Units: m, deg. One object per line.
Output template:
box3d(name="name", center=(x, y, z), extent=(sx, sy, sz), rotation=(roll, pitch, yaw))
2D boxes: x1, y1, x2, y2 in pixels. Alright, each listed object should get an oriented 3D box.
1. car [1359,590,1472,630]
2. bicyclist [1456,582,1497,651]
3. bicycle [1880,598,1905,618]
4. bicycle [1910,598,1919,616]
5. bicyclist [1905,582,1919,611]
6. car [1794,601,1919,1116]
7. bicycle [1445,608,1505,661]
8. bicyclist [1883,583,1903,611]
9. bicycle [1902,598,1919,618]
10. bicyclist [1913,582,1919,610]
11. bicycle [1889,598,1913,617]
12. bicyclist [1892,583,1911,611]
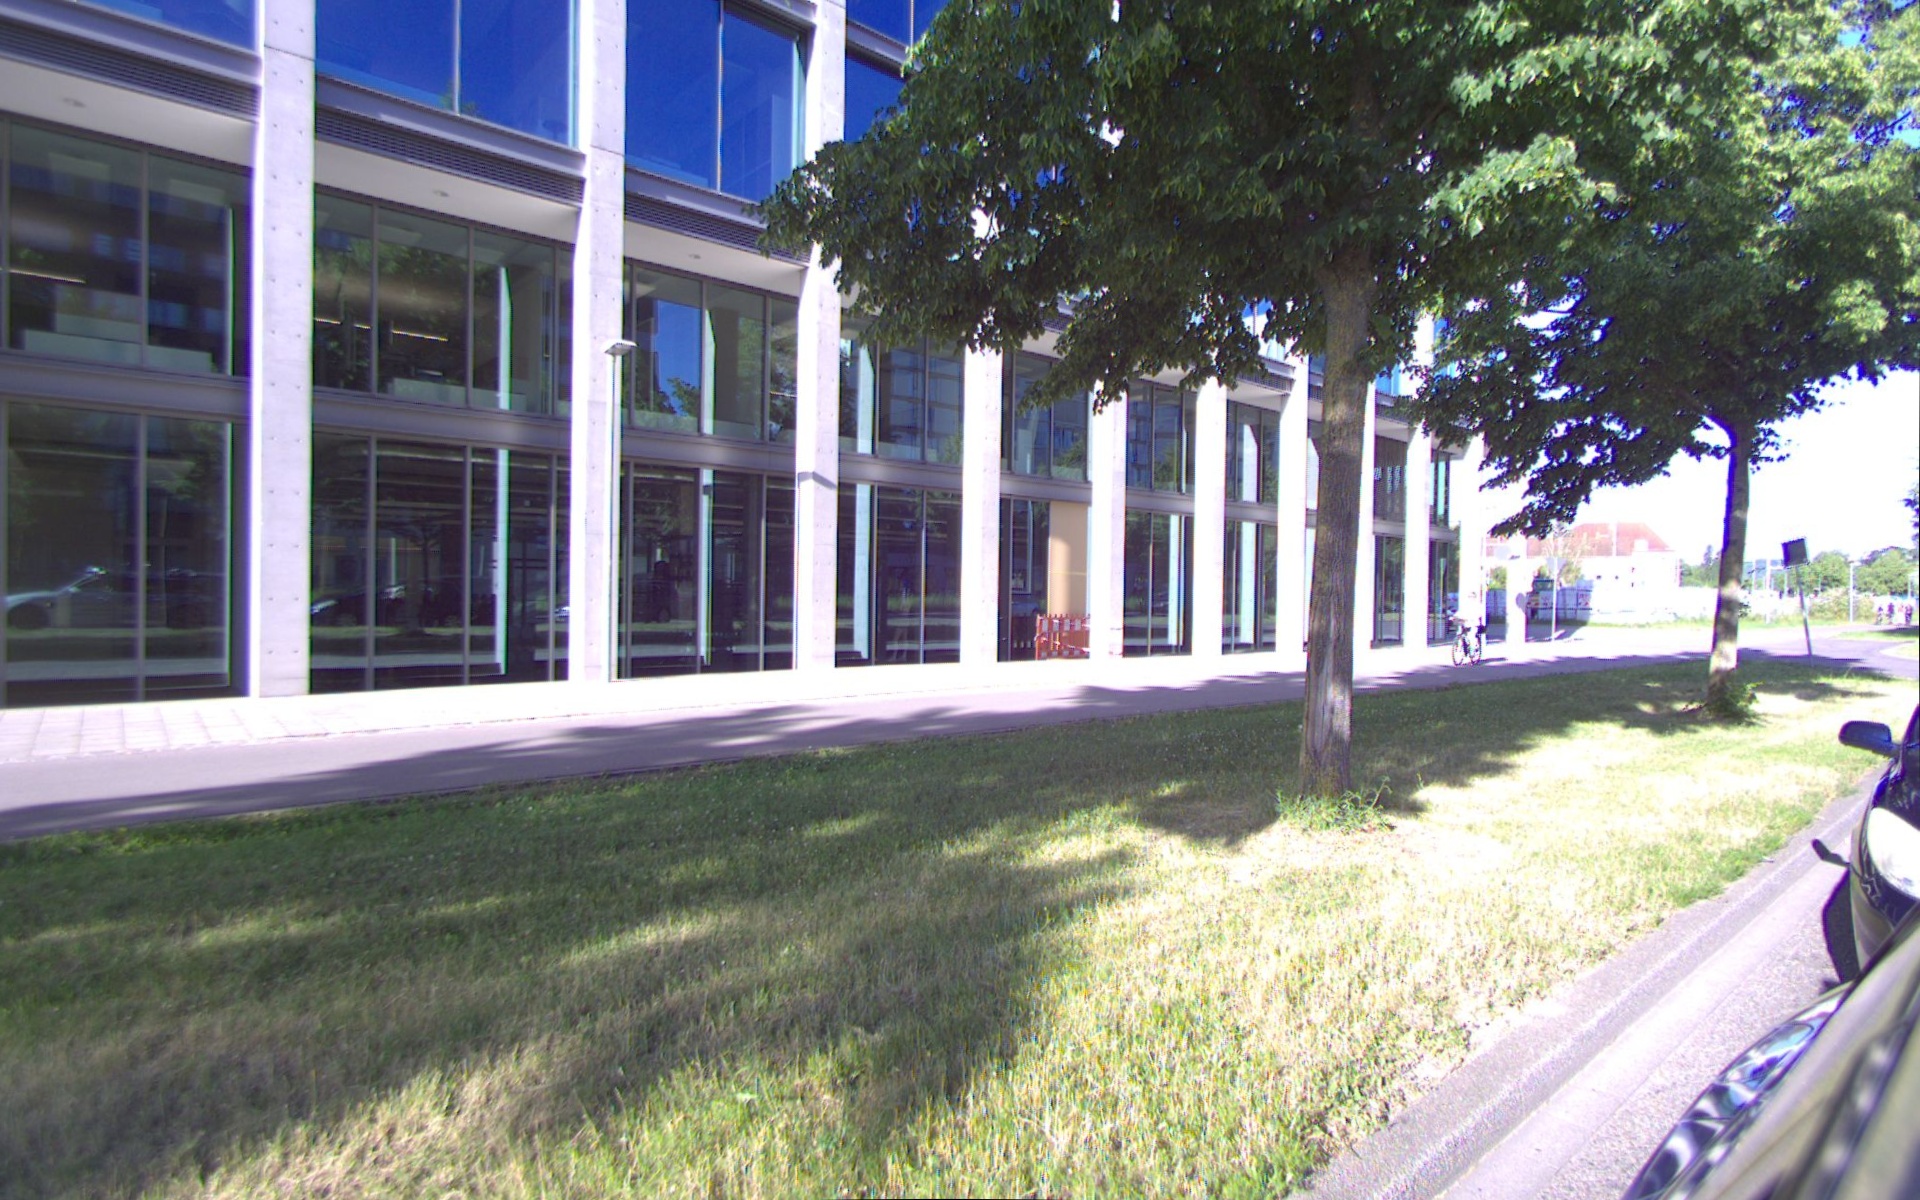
box3d(name="car", center=(19.515, 0.394, 43.494), extent=(1.963, 1.598, 3.997), rotation=(0, 1, -38))
box3d(name="bicyclist", center=(12.182, 0.382, 23.876), extent=(0.687, 1.558, 0.591), rotation=(1, 2, -42))
box3d(name="bicycle", center=(68.463, 0.582, 74.290), extent=(3.930, 1.380, 0.930), rotation=(0, 1, -41))
box3d(name="bicycle", center=(72.521, 0.521, 76.294), extent=(3.930, 1.380, 0.930), rotation=(0, 1, -41))
box3d(name="bicyclist", center=(69.400, -0.242, 73.538), extent=(1.101, 2.082, 0.930), rotation=(0, 0, -41))
box3d(name="car", center=(4.883, 0.767, 3.923), extent=(4.403, 1.500, 1.845), rotation=(0, 1, -41))
box3d(name="bicycle", center=(12.167, 0.792, 23.891), extent=(1.894, 1.170, 0.591), rotation=(1, 2, -43))
box3d(name="bicyclist", center=(68.492, -0.215, 74.294), extent=(1.101, 2.082, 0.930), rotation=(0, 0, -41))
box3d(name="bicycle", center=(69.457, 0.554, 73.595), extent=(3.930, 1.380, 0.930), rotation=(0, 1, -41))
box3d(name="bicyclist", center=(72.482, -0.275, 76.227), extent=(1.101, 2.082, 0.930), rotation=(0, 0, -41))
box3d(name="bicycle", center=(71.716, 0.546, 77.119), extent=(3.930, 1.380, 0.930), rotation=(0, 1, -41))
box3d(name="bicyclist", center=(71.544, -0.249, 76.931), extent=(1.101, 2.082, 0.930), rotation=(0, 0, -41))
